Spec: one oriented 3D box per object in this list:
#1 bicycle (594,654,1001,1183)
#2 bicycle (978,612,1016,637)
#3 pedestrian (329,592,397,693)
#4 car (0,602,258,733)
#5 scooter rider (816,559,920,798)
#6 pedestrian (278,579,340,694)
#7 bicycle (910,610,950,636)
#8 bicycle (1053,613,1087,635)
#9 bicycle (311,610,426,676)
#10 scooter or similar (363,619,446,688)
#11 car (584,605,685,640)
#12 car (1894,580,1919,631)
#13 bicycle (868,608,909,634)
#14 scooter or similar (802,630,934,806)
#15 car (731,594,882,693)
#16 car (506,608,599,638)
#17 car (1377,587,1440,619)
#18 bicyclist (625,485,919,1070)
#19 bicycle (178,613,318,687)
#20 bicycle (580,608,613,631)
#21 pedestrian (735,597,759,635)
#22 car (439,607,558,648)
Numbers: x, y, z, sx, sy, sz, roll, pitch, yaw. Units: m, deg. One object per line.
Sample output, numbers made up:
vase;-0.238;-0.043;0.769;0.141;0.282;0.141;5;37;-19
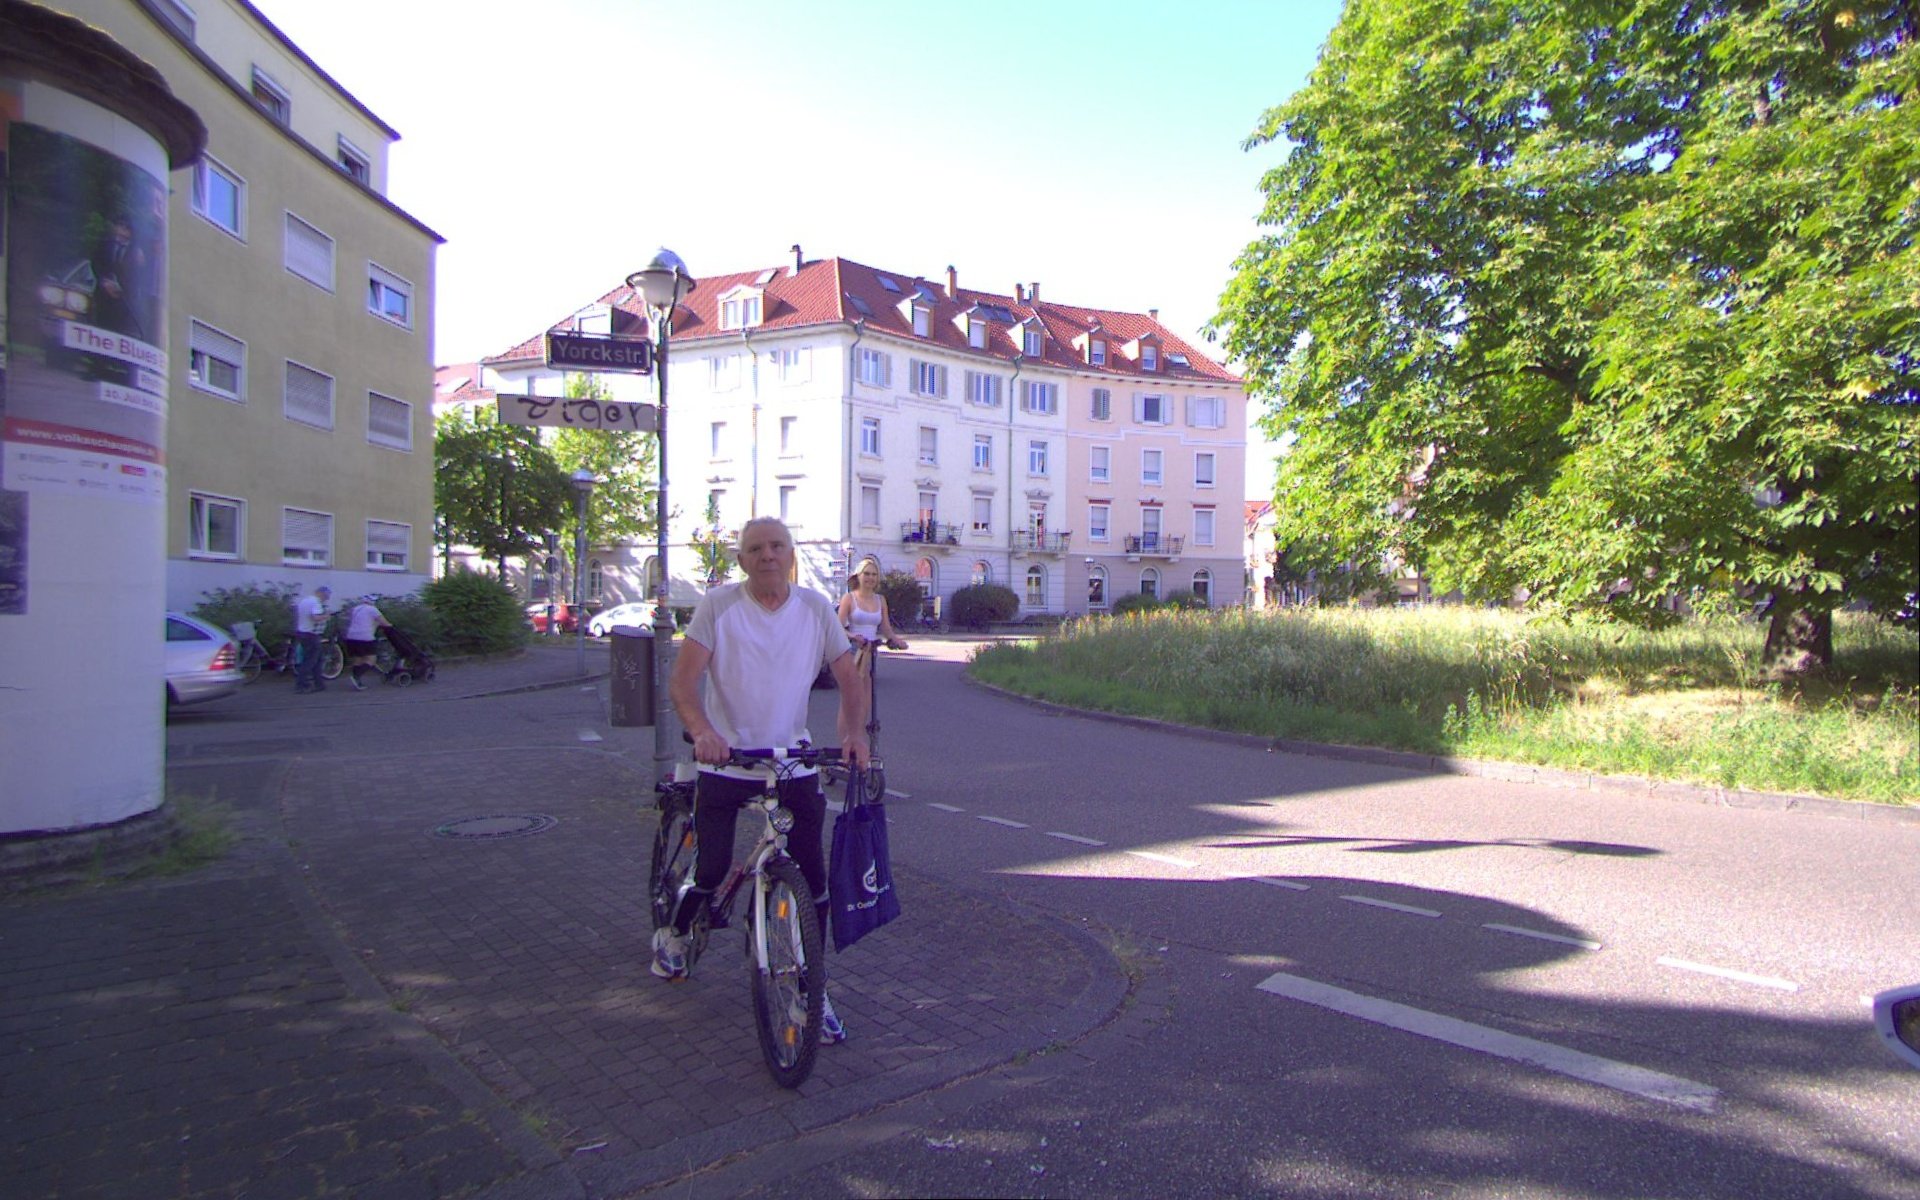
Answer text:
bicycle;-0.686;0.846;3.497;0.756;1.214;1.854;1;0;-31
bicycle;1.826;1.199;49.317;1.772;1.139;0.568;3;-1;-19
pedestrian;-9.583;0.658;16.129;0.639;1.544;0.695;5;3;33
car;-10.972;0.744;11.769;4.449;1.430;1.714;1;0;-38
scooter rider;-0.760;0.613;8.254;0.619;1.856;0.625;0;0;-35
pedestrian;-10.087;0.553;15.568;0.545;1.716;0.607;5;3;33
bicycle;-1.407;1.091;47.285;1.780;1.139;0.566;3;-1;-32
bicycle;5.595;1.211;50.930;1.663;1.103;0.499;1;2;-25
bicycle;-10.563;0.741;18.006;0.491;1.122;1.797;0;0;27
scooter or similar;-9.381;0.884;16.961;0.902;1.037;0.896;5;3;33
car;-13.970;0.932;43.086;3.923;1.432;1.799;0;0;23
car;50.022;0.323;49.578;2.061;2.635;6.377;1;1;3
bicycle;-3.325;0.964;46.425;1.772;1.139;0.568;3;-1;-19
scooter or similar;-0.776;0.917;8.273;0.626;1.300;1.095;0;0;-35
car;-3.032;0.784;20.855;1.698;1.651;4.618;5;1;8
car;-18.135;0.999;44.721;3.647;1.272;1.799;0;0;22
car;28.524;0.202;63.994;2.099;1.934;4.562;1;-1;2
bicyclist;-0.676;0.526;3.497;0.756;1.719;0.805;1;0;-31
bicycle;-11.470;0.776;16.237;0.493;1.122;1.791;0;0;40
bicycle;-18.932;1.026;52.338;1.767;1.157;0.570;0;0;28
pedestrian;-9.438;0.704;44.586;0.731;1.683;0.774;0;0;20
car;-17.207;0.984;37.455;3.921;1.430;1.803;0;0;20
